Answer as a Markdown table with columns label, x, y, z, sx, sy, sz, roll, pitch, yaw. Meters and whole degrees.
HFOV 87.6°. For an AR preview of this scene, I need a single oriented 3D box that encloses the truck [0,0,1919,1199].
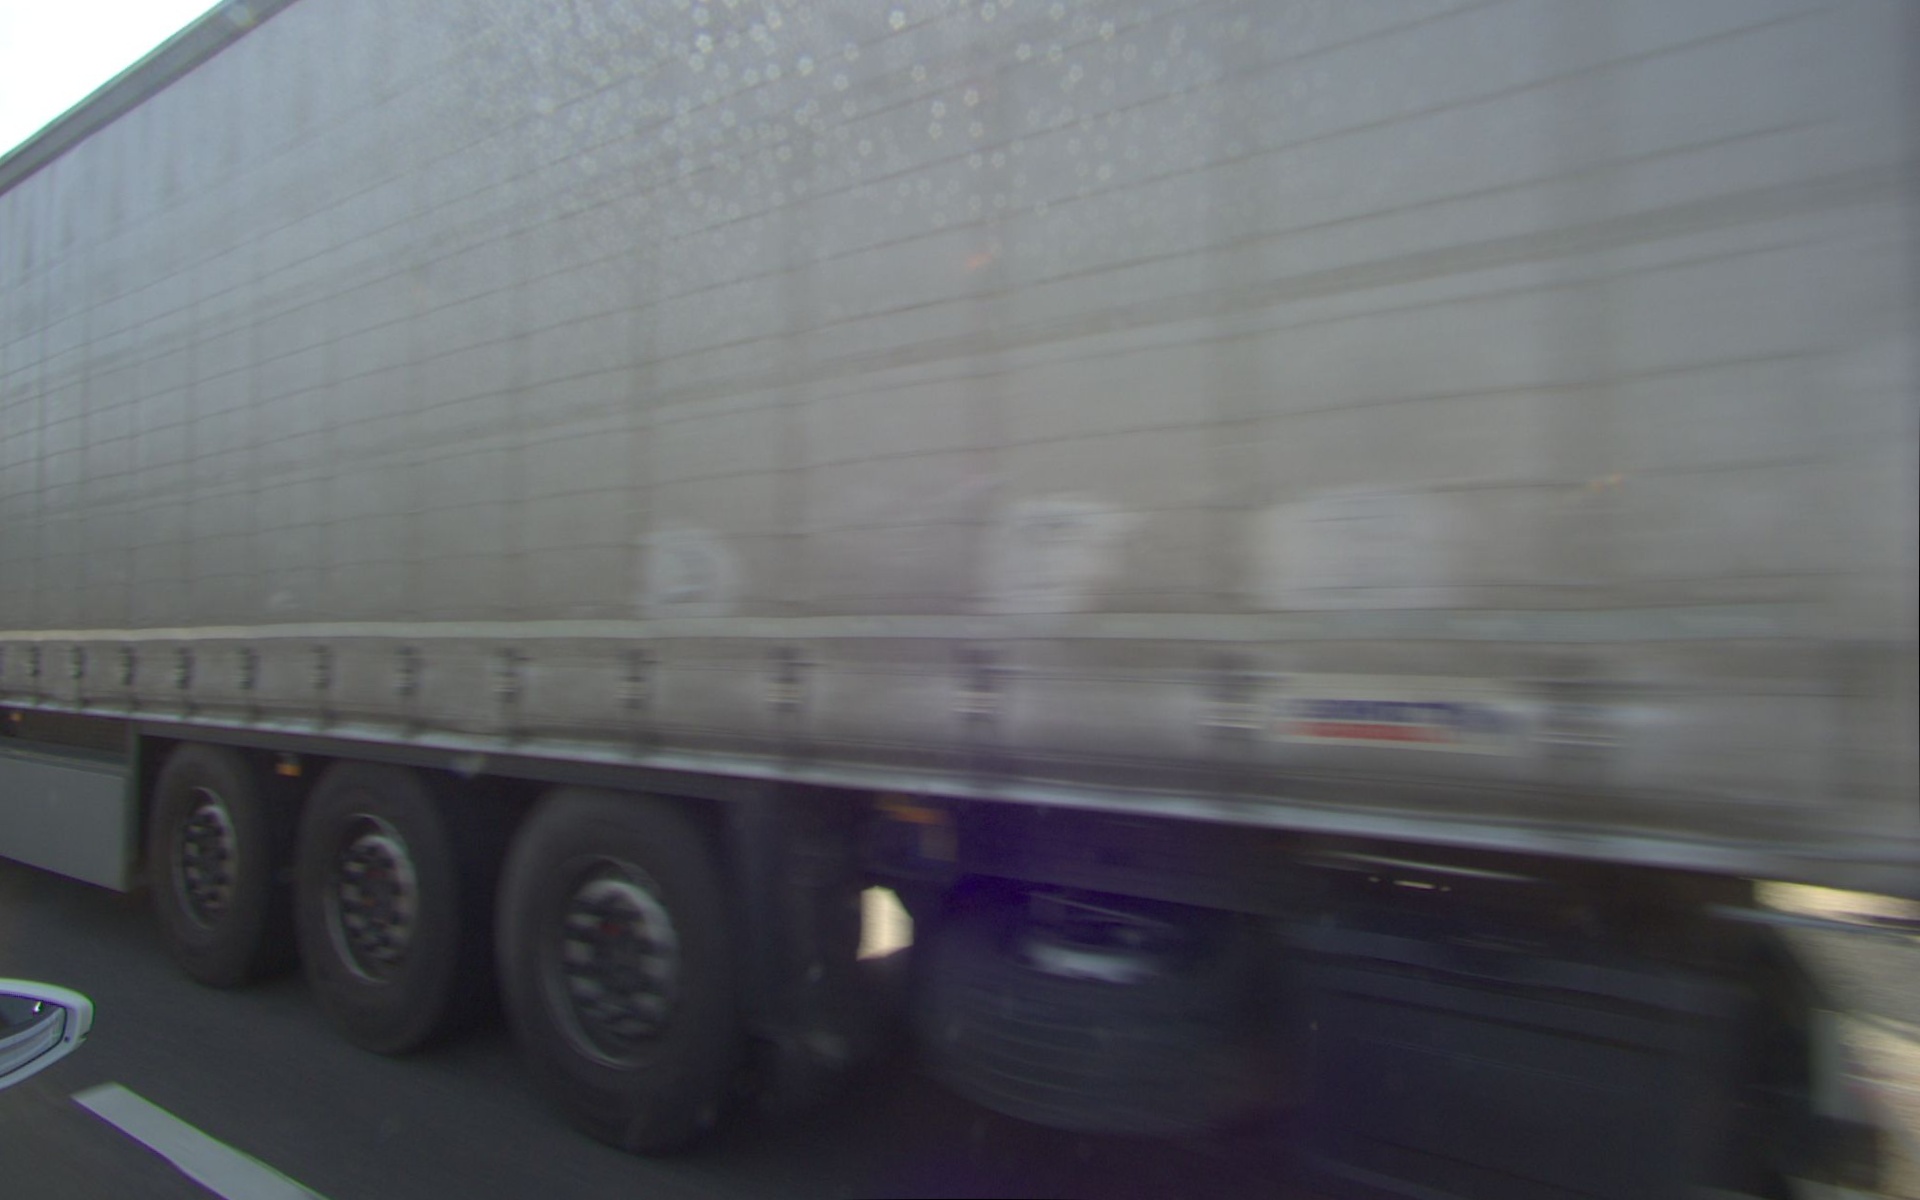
| label | x | y | z | sx | sy | sz | roll | pitch | yaw |
| --- | --- | --- | --- | --- | --- | --- | --- | --- | --- |
| truck | -4.704 | -0.488 | 6.643 | 16.467 | 4.320 | 2.886 | -1 | -2 | 32 |
